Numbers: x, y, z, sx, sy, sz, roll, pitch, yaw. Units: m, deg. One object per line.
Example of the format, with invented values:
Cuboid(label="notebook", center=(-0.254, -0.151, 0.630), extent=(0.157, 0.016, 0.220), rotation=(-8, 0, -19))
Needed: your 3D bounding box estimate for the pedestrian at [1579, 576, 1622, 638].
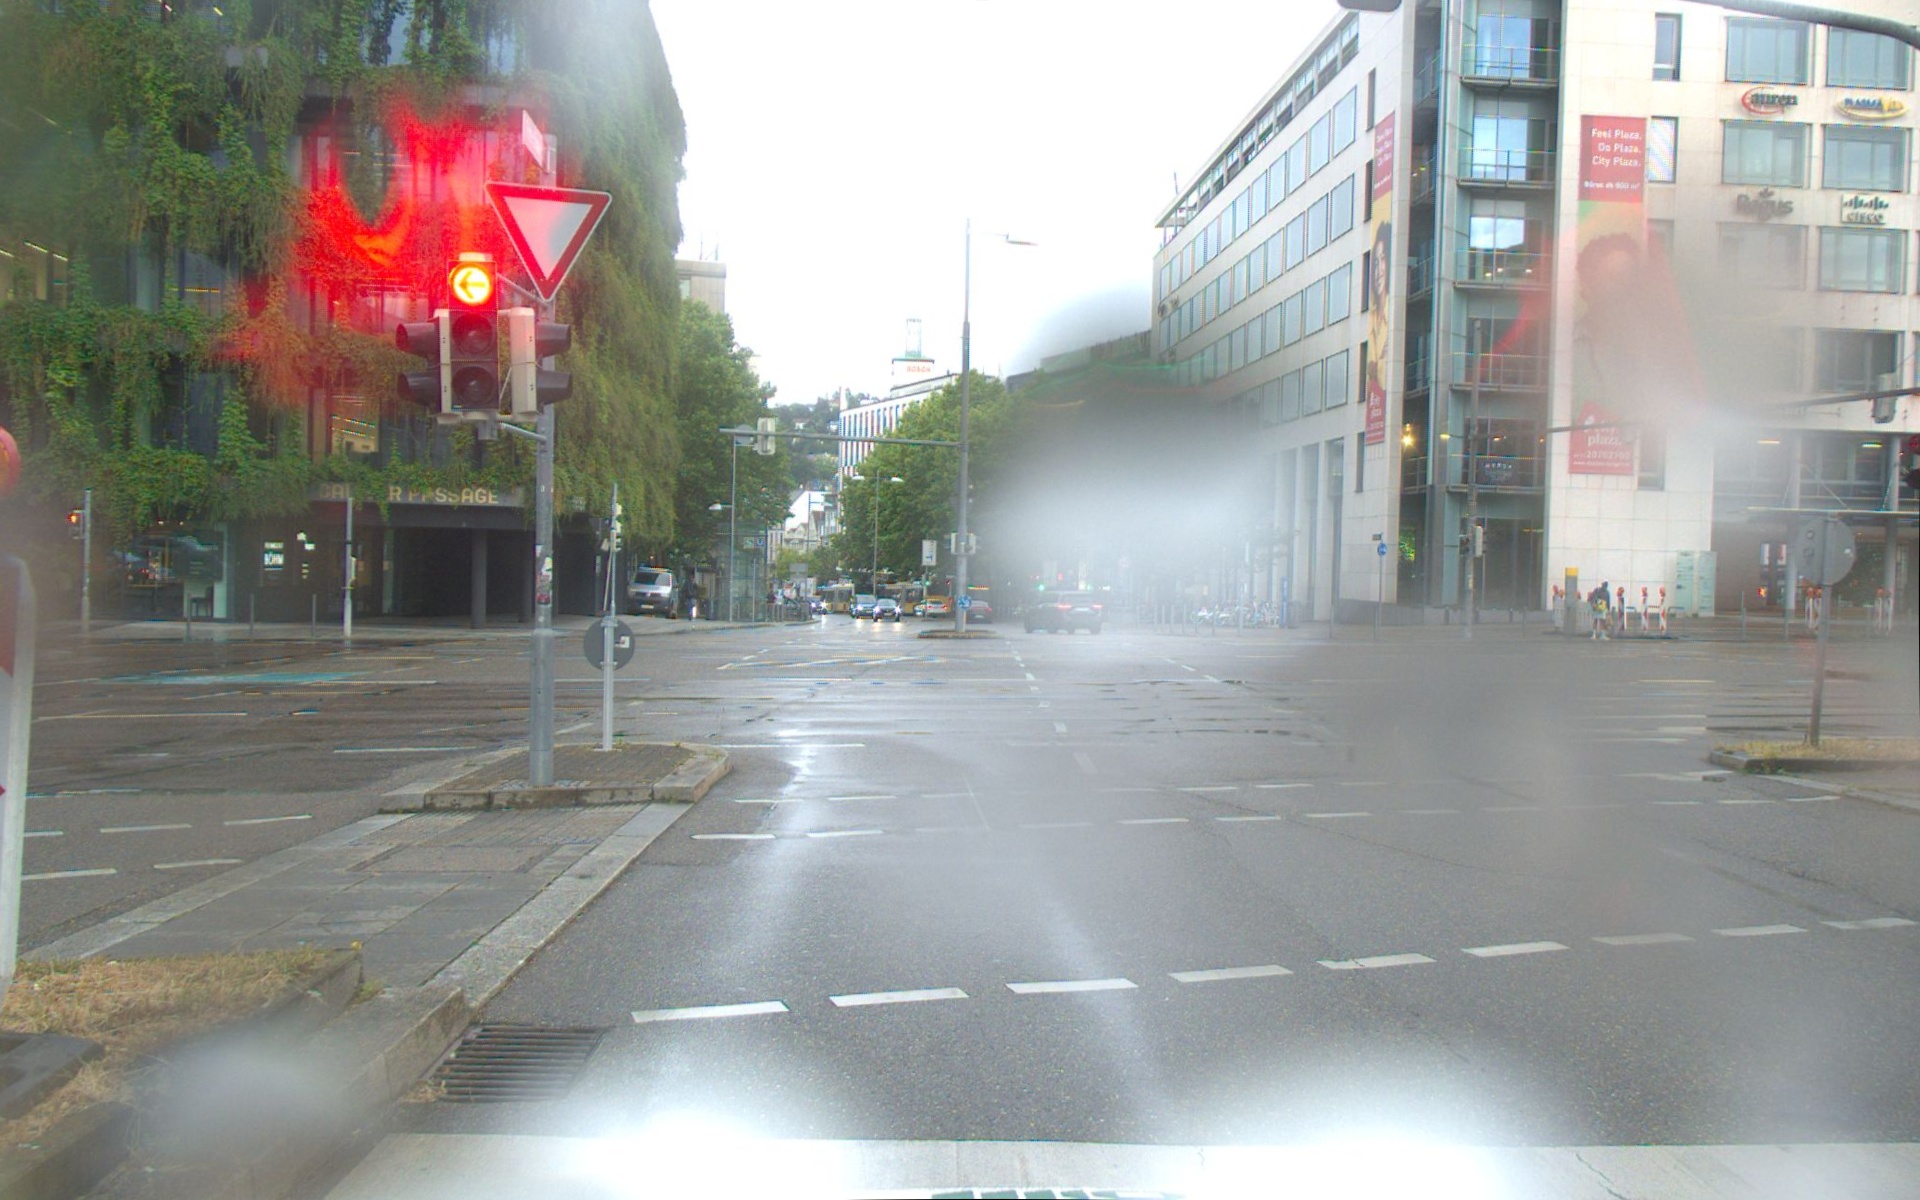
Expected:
Cuboid(label="pedestrian", center=(19.377, 0.201, 50.071), extent=(0.942, 1.848, 0.836), rotation=(1, -1, -1))

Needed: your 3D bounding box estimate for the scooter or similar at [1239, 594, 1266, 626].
Cuboid(label="scooter or similar", center=(11.381, 0.399, 64.313), extent=(0.946, 1.215, 0.453), rotation=(1, -1, 40))

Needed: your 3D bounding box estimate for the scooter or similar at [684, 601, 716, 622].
Cuboid(label="scooter or similar", center=(-12.939, 0.550, 82.330), extent=(0.612, 1.022, 1.653), rotation=(1, 0, 37))

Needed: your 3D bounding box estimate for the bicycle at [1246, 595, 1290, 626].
Cuboid(label="bicycle", center=(12.117, 0.415, 65.009), extent=(1.590, 1.215, 0.586), rotation=(1, -1, 25))

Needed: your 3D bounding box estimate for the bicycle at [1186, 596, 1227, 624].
Cuboid(label="bicycle", center=(10.858, 0.427, 72.921), extent=(1.741, 1.215, 0.586), rotation=(1, -1, 1))

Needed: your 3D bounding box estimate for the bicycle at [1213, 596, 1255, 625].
Cuboid(label="bicycle", center=(11.888, 0.440, 71.767), extent=(1.741, 1.215, 0.586), rotation=(1, -1, 1))

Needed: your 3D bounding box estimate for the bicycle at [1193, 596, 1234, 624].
Cuboid(label="bicycle", center=(11.418, 0.443, 74.481), extent=(1.741, 1.215, 0.586), rotation=(1, -1, 1))

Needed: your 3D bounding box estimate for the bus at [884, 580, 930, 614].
Cuboid(label="bus", center=(-4.970, -0.271, 153.004), extent=(2.585, 3.048, 7.417), rotation=(0, 0, -16))

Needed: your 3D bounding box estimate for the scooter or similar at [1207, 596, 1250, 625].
Cuboid(label="scooter or similar", center=(11.543, 0.431, 71.140), extent=(1.741, 1.215, 0.586), rotation=(1, -1, 1))

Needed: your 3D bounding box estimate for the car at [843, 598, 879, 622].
Cuboid(label="car", center=(-7.633, 0.730, 127.472), extent=(2.125, 1.796, 4.817), rotation=(-1, 0, -11))

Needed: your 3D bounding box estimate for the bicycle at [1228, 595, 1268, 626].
Cuboid(label="bicycle", center=(11.580, 0.412, 66.553), extent=(0.578, 1.215, 1.766), rotation=(1, 0, -28))

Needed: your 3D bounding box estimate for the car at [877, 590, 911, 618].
Cuboid(label="car", center=(-4.487, 0.280, 111.805), extent=(2.121, 1.796, 5.108), rotation=(1, 0, -4))

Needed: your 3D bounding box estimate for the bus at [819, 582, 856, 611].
Cuboid(label="bus", center=(-13.343, -0.402, 180.120), extent=(2.585, 3.048, 7.417), rotation=(0, 0, -16))

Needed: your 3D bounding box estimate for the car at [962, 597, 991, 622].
Cuboid(label="car", center=(1.049, 0.609, 107.208), extent=(1.745, 1.534, 3.999), rotation=(1, 0, -1))

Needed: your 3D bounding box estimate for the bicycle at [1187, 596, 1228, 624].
Cuboid(label="bicycle", center=(11.001, 0.432, 73.557), extent=(1.741, 1.215, 0.586), rotation=(1, -1, 1))

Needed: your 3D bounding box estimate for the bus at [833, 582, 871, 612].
Cuboid(label="bus", center=(-11.346, -0.298, 173.053), extent=(2.585, 3.048, 7.296), rotation=(0, 0, -16))

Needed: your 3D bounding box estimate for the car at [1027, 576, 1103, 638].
Cuboid(label="car", center=(3.603, 0.228, 57.432), extent=(1.516, 2.049, 4.656), rotation=(1, 0, -11))

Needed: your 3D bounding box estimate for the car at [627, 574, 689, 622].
Cuboid(label="car", center=(-12.393, -0.074, 68.130), extent=(1.832, 1.871, 3.999), rotation=(1, 0, -1))

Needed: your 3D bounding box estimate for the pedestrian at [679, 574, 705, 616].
Cuboid(label="pedestrian", center=(-10.901, -0.200, 67.204), extent=(0.915, 1.673, 0.774), rotation=(1, -1, -1))

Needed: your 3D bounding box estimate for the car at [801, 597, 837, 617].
Cuboid(label="car", center=(-13.181, 0.618, 154.539), extent=(2.132, 1.796, 5.082), rotation=(1, 0, -20))

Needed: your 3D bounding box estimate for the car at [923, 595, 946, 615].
Cuboid(label="car", center=(-2.016, 0.402, 132.122), extent=(1.745, 1.534, 3.999), rotation=(1, 0, -1))

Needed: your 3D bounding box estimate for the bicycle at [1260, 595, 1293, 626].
Cuboid(label="bicycle", center=(12.855, 0.437, 67.130), extent=(0.575, 1.215, 1.776), rotation=(1, -1, 37))

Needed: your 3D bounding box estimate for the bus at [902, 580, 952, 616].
Cuboid(label="bus", center=(-2.974, -0.204, 145.888), extent=(2.585, 3.048, 7.417), rotation=(0, 0, -16))
